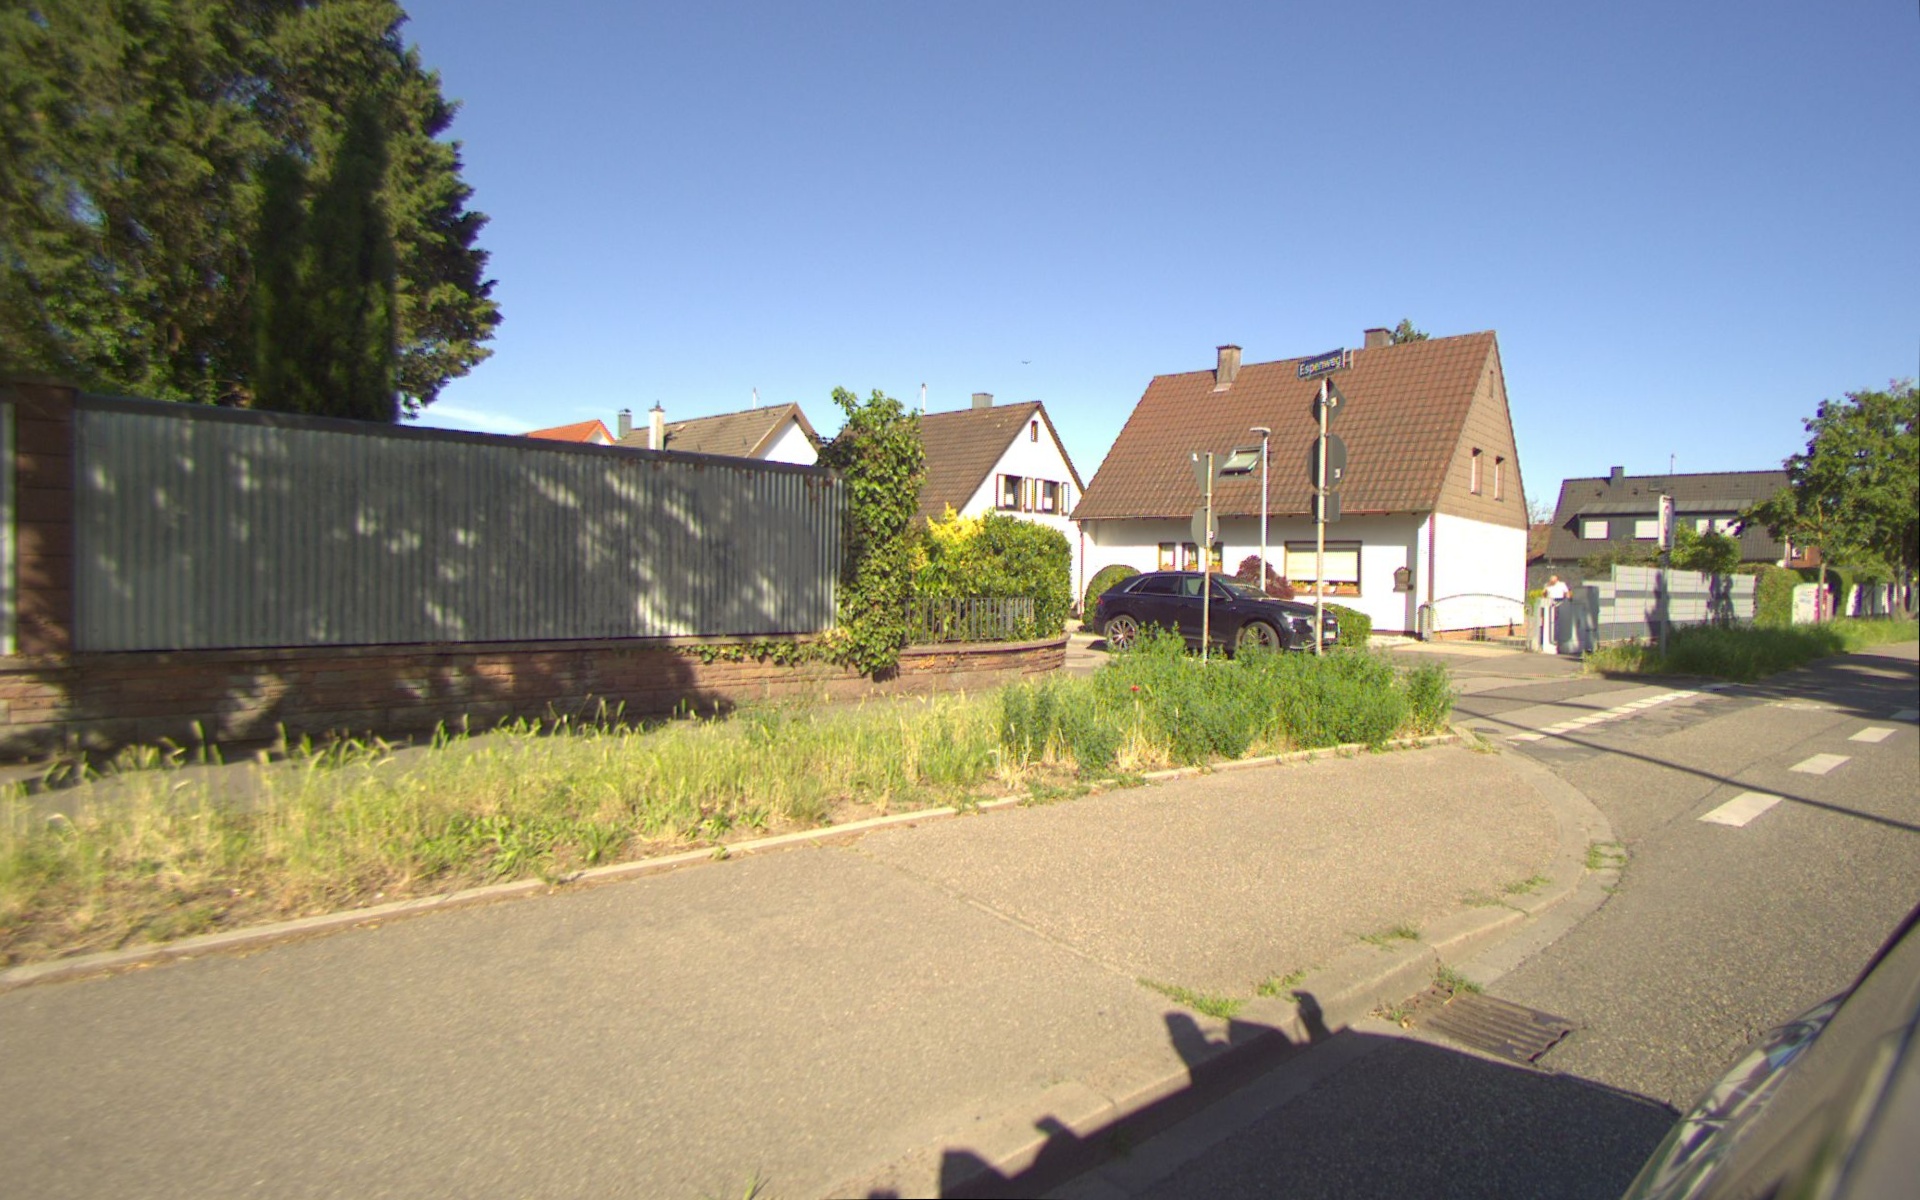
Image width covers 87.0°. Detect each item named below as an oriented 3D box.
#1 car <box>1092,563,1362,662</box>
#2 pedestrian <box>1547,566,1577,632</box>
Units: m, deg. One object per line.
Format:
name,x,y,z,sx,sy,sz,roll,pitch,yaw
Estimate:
car,5.142,0.157,19.926,4.742,1.677,2.039,2,1,44
pedestrian,15.921,-0.028,26.751,0.626,1.730,0.606,1,0,36
